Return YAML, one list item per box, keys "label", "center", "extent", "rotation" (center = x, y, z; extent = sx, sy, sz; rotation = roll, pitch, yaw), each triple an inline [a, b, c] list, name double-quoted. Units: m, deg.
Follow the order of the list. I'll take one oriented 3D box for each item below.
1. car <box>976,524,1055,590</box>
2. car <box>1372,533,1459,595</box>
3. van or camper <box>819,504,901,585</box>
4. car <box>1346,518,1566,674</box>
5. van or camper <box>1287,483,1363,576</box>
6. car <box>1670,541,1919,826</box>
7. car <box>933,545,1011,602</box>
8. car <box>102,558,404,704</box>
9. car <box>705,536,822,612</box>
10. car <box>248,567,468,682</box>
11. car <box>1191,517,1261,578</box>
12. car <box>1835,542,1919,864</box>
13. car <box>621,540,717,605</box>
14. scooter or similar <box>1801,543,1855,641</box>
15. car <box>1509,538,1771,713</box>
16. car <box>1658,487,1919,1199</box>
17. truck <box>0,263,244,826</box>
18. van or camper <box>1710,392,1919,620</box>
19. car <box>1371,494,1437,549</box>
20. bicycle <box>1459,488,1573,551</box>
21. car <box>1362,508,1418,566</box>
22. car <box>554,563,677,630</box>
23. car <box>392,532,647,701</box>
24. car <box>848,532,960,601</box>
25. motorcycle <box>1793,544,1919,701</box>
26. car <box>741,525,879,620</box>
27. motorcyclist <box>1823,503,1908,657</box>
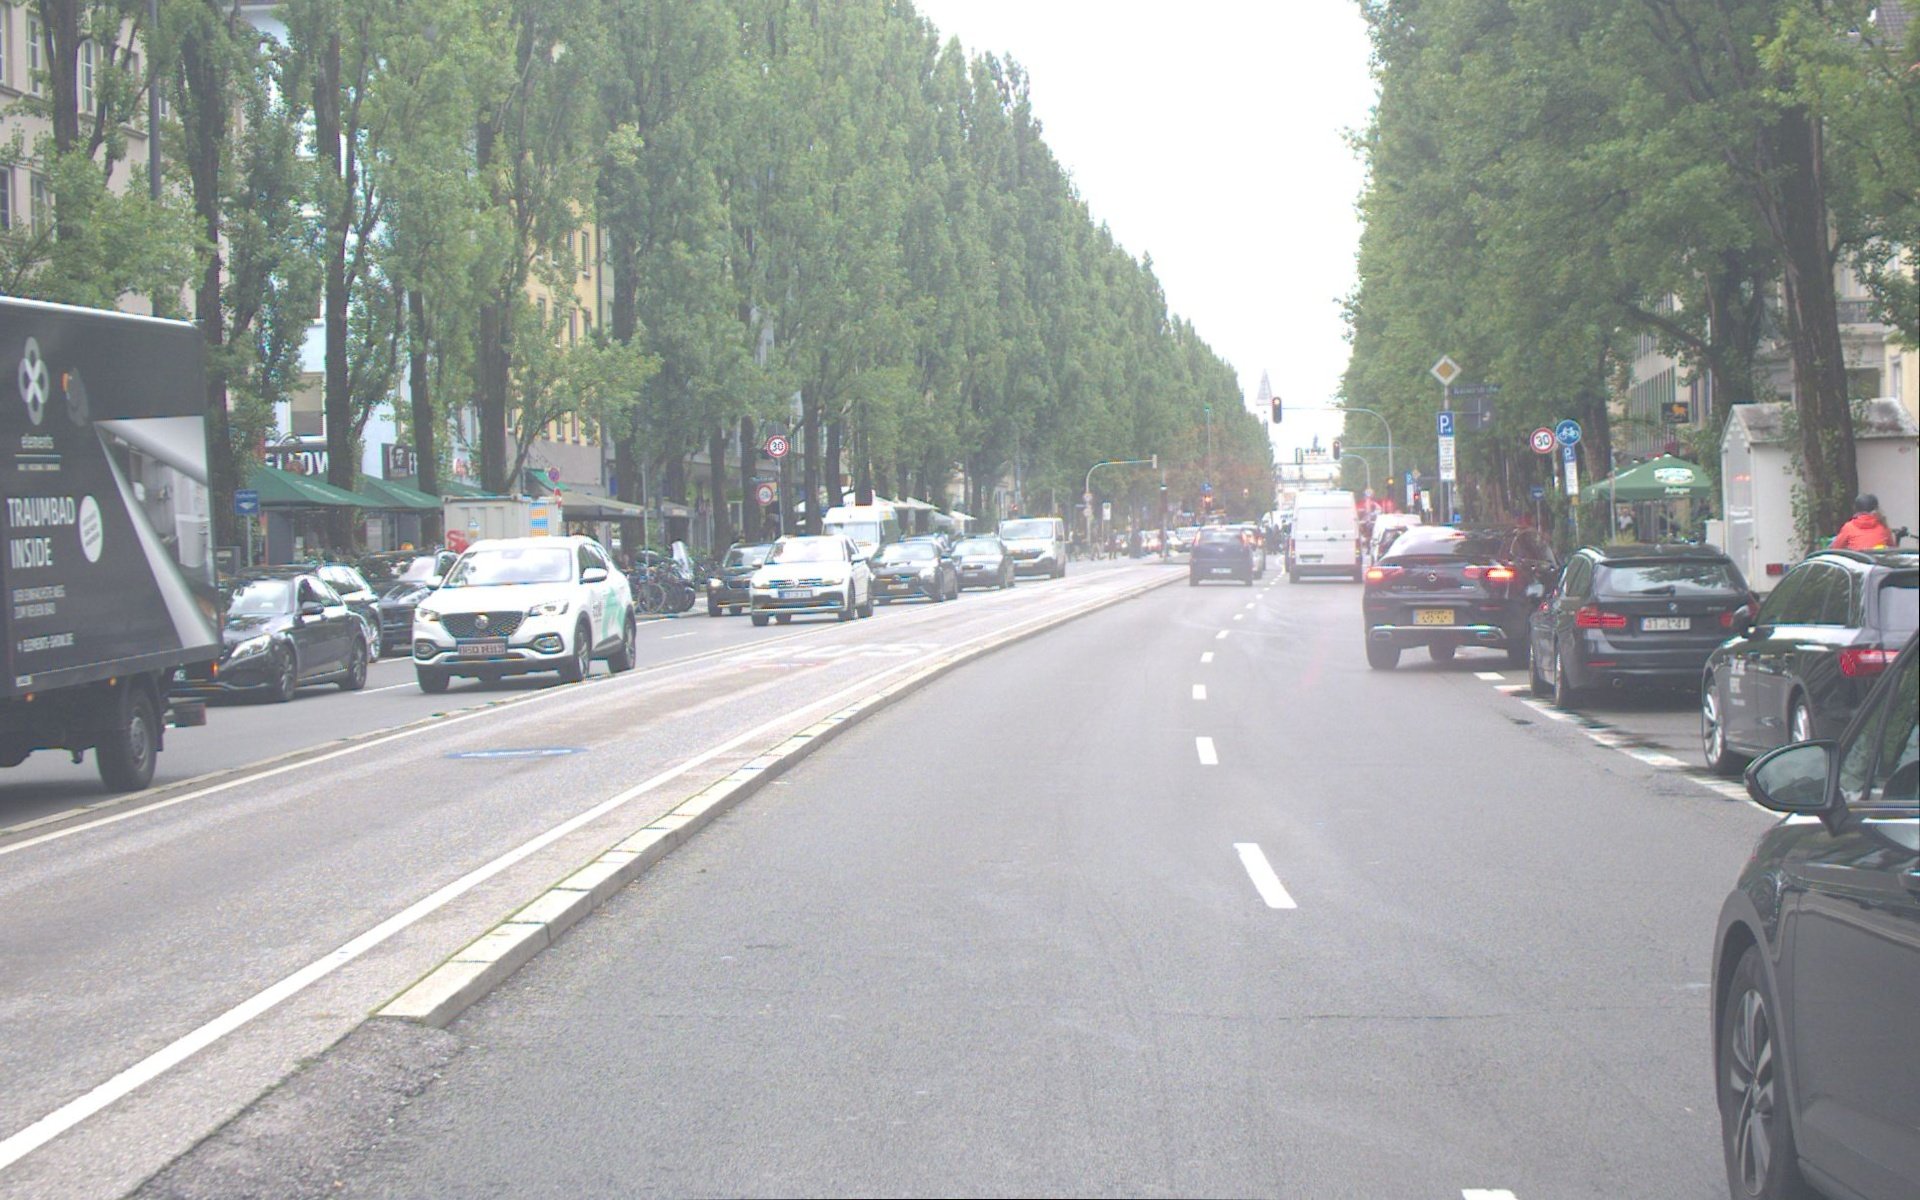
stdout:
- label: "car"
  center: [1.781, -1.356, 109.063]
  extent: [1.994, 1.927, 4.917]
  rotation: [-3, 0, 6]
- label: "car"
  center: [11.534, -0.940, 87.250]
  extent: [1.944, 1.462, 4.000]
  rotation: [-2, 1, 5]
- label: "van or camper"
  center: [-3.113, -1.757, 107.554]
  extent: [1.994, 2.450, 4.250]
  rotation: [-1, 1, 6]
- label: "car"
  center: [5.780, -0.092, 39.620]
  extent: [1.882, 1.636, 4.580]
  rotation: [-1, 1, 16]
- label: "van or camper"
  center: [10.153, -1.945, 95.809]
  extent: [2.035, 2.467, 3.999]
  rotation: [-1, 0, 6]
- label: "car"
  center: [5.423, 0.394, 19.947]
  extent: [1.847, 1.423, 4.425]
  rotation: [-1, 1, 2]
- label: "car"
  center: [0.343, -0.718, 90.795]
  extent: [1.712, 1.409, 3.722]
  rotation: [-2, 1, 5]
- label: "car"
  center: [-7.815, 0.301, 38.444]
  extent: [1.940, 1.429, 4.538]
  rotation: [-2, 1, 7]
- label: "car"
  center: [-4.214, -0.559, 74.424]
  extent: [1.849, 1.559, 4.211]
  rotation: [-2, 0, 6]
- label: "car"
  center: [-8.825, 0.323, 50.747]
  extent: [1.994, 1.477, 4.319]
  rotation: [-2, 1, 7]
- label: "car"
  center: [7.147, -1.394, 92.209]
  extent: [1.759, 1.614, 3.746]
  rotation: [0, 0, 6]
- label: "car"
  center: [5.303, 0.469, 14.571]
  extent: [1.930, 1.445, 4.804]
  rotation: [-2, 1, 0]
- label: "car"
  center: [-6.332, -0.621, 75.139]
  extent: [1.512, 1.340, 3.237]
  rotation: [-1, 1, 5]
- label: "scooter or similar"
  center: [11.405, -0.113, 45.153]
  extent: [0.525, 1.228, 1.475]
  rotation: [-3, 1, 18]
- label: "car"
  center: [6.058, 0.175, 31.080]
  extent: [1.733, 1.389, 4.432]
  rotation: [-2, 1, 4]
- label: "car"
  center: [2.480, 0.609, 5.725]
  extent: [1.761, 1.608, 4.184]
  rotation: [0, 1, 0]
- label: "truck"
  center: [-6.690, -0.316, 21.244]
  extent: [2.291, 3.311, 7.156]
  rotation: [-2, 1, 5]
- label: "van or camper"
  center: [12.514, -1.361, 50.281]
  extent: [2.461, 3.101, 4.714]
  rotation: [-2, 1, 7]
- label: "car"
  center: [13.151, -2.309, 101.990]
  extent: [1.805, 1.590, 3.999]
  rotation: [0, 0, 6]
- label: "bicycle"
  center: [18.129, -2.616, 112.130]
  extent: [3.551, 2.007, 1.296]
  rotation: [0, 0, 15]
- label: "car"
  center: [14.892, -2.169, 119.212]
  extent: [1.805, 1.985, 3.999]
  rotation: [0, 0, 6]
- label: "car"
  center: [-6.970, -0.083, 69.892]
  extent: [1.810, 1.246, 3.700]
  rotation: [-1, 1, 5]
- label: "car"
  center: [-4.926, 0.133, 39.083]
  extent: [1.860, 1.705, 4.535]
  rotation: [-2, 1, 5]
- label: "car"
  center: [-1.244, -0.799, 78.959]
  extent: [1.994, 1.427, 4.771]
  rotation: [-2, 1, 5]
- label: "motorcycle"
  center: [8.415, 0.181, 31.975]
  extent: [0.826, 1.365, 2.252]
  rotation: [-2, 1, 2]
- label: "car"
  center: [-2.740, -0.546, 63.900]
  extent: [1.940, 1.636, 4.463]
  rotation: [-2, 1, 5]
- label: "motorcyclist"
  center: [8.451, -0.191, 32.107]
  extent: [0.564, 1.401, 0.766]
  rotation: [-2, 1, 2]
